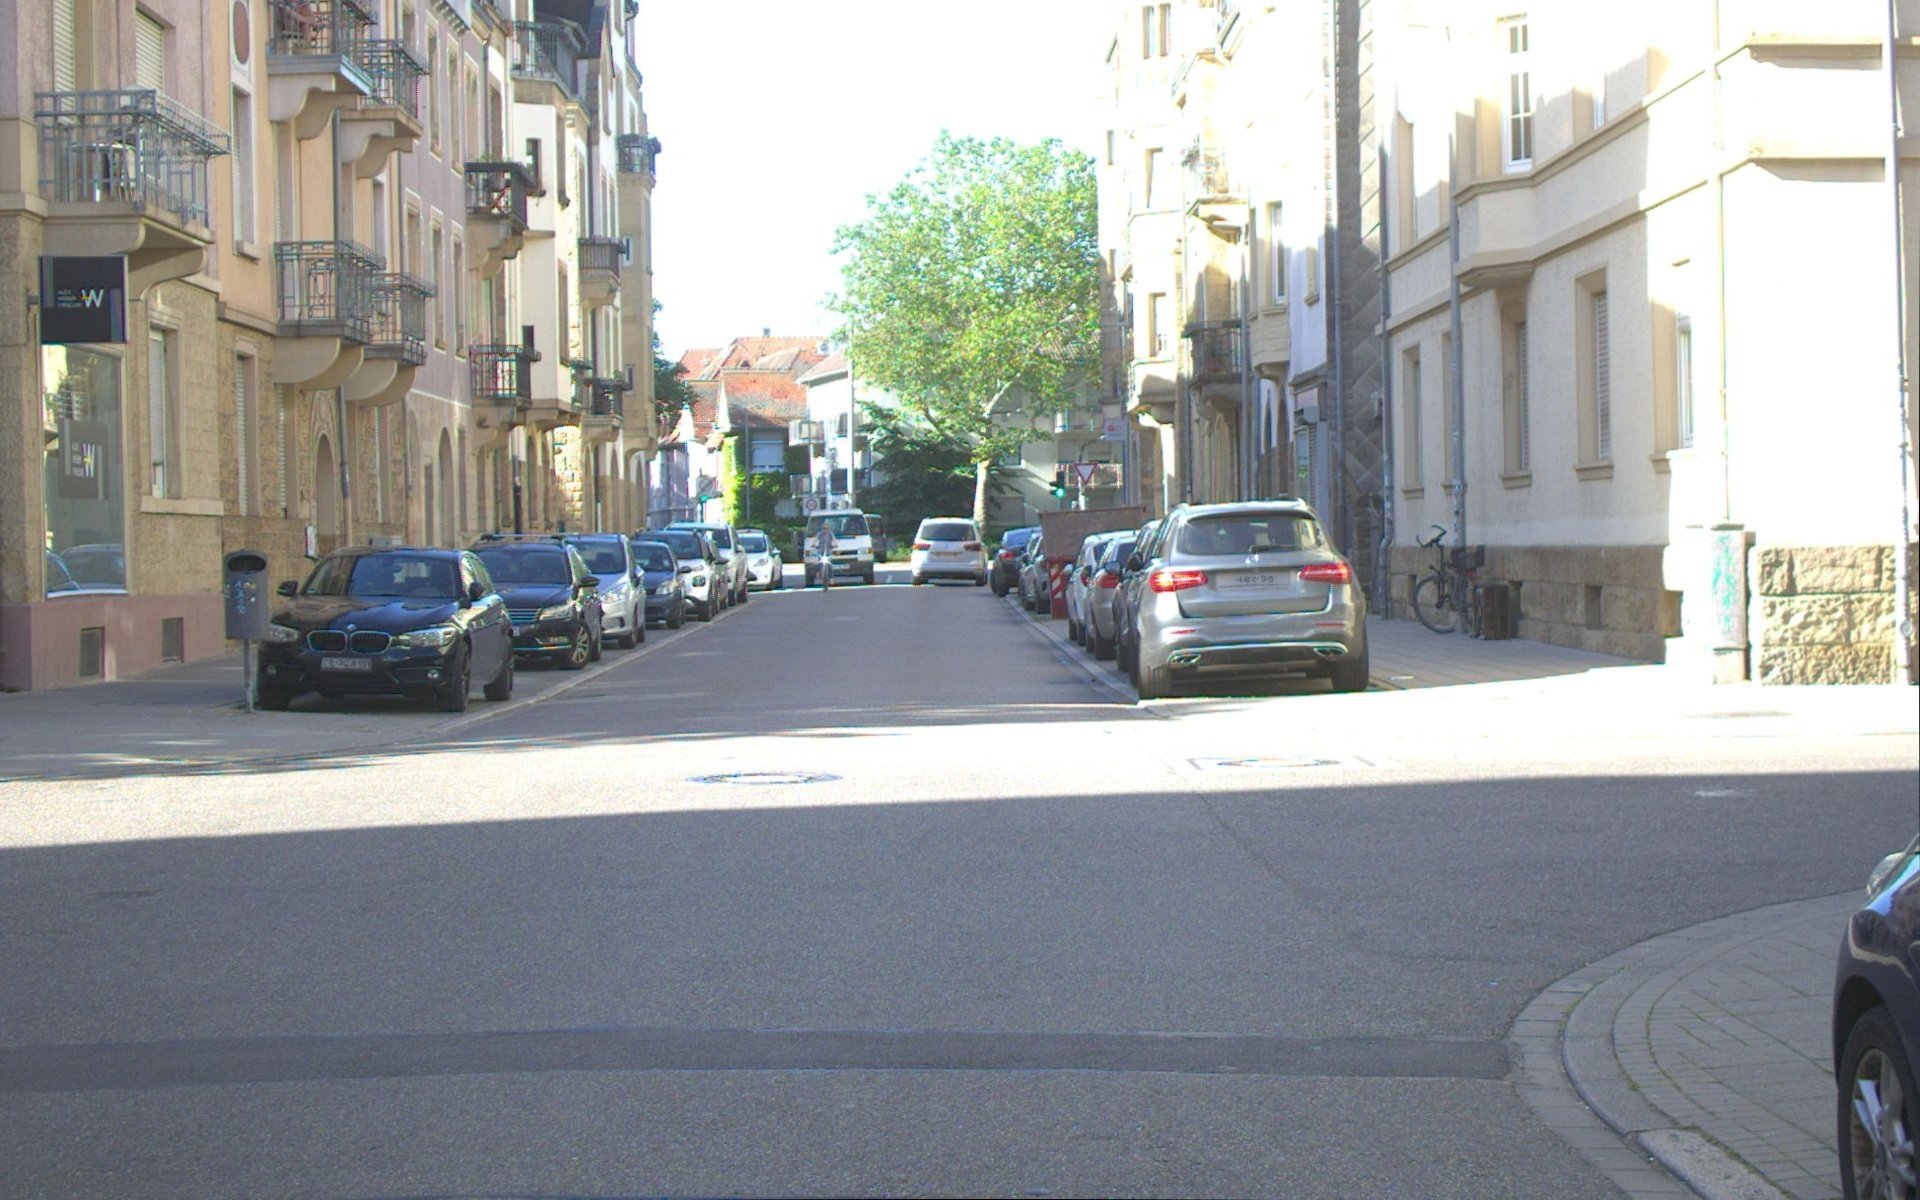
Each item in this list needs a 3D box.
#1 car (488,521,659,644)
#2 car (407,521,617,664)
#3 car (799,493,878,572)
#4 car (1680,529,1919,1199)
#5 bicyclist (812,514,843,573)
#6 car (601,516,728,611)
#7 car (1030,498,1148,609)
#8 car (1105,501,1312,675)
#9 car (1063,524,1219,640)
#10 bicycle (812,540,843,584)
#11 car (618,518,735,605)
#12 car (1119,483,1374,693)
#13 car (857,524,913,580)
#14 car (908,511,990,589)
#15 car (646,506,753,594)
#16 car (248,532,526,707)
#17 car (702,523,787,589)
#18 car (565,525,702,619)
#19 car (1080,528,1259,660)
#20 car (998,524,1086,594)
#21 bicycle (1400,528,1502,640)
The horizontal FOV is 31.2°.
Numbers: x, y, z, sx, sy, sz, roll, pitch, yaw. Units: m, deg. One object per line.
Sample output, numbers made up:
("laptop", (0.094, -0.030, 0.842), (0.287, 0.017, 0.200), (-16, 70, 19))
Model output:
("car", (-5.392, -0.259, 48.445), (2.003, 1.613, 4.488), (1, 0, -2))
("car", (-5.286, -0.108, 41.088), (2.003, 1.577, 4.488), (1, 0, -2))
("car", (-3.194, -1.764, 91.138), (2.003, 1.993, 4.488), (1, 0, -2))
("car", (2.601, 0.602, 5.389), (1.762, 1.465, 4.085), (-3, 1, -4))
("bicyclist", (-3.201, -1.364, 82.990), (0.662, 1.381, 0.754), (-3, 0, -2))
("car", (-5.311, -0.658, 62.315), (2.003, 1.613, 4.488), (1, 0, -2))
("car", (2.189, -0.769, 59.220), (1.838, 1.781, 4.029), (-2, -1, 0))
("car", (2.464, -0.106, 34.970), (1.745, 1.602, 4.029), (-2, 0, 0))
("car", (2.395, -0.225, 46.427), (1.838, 1.426, 4.029), (-2, 0, 0))
("bicycle", (-3.193, -0.925, 82.977), (0.662, 1.015, 2.066), (-3, 1, -2))
("car", (-5.537, -0.759, 67.611), (2.003, 1.613, 4.488), (1, 0, -2))
("car", (2.441, -0.090, 30.348), (1.913, 1.639, 4.773), (-2, 0, 2))
("car", (-2.810, -1.769, 127.700), (2.003, 1.993, 4.488), (1, 0, -2))
("car", (-0.300, -1.256, 87.811), (2.003, 1.907, 4.487), (1, 0, -1))
("car", (-5.504, -1.054, 73.084), (2.003, 1.782, 4.488), (1, 0, -2))
("car", (-5.035, 0.144, 30.709), (1.679, 1.421, 4.274), (1, 0, 1))
("car", (-5.514, -1.125, 88.388), (2.003, 1.600, 4.488), (1, 0, -2))
("car", (-5.440, -0.471, 57.738), (1.978, 1.477, 4.328), (1, 0, -2))
("car", (2.447, -0.057, 41.035), (1.838, 1.426, 4.029), (-2, 0, 0))
("car", (1.837, -0.914, 78.046), (1.838, 1.426, 4.029), (-2, -1, 0))
("bicycle", (5.660, -0.205, 39.738), (0.761, 1.242, 2.592), (-1, 1, -1))
